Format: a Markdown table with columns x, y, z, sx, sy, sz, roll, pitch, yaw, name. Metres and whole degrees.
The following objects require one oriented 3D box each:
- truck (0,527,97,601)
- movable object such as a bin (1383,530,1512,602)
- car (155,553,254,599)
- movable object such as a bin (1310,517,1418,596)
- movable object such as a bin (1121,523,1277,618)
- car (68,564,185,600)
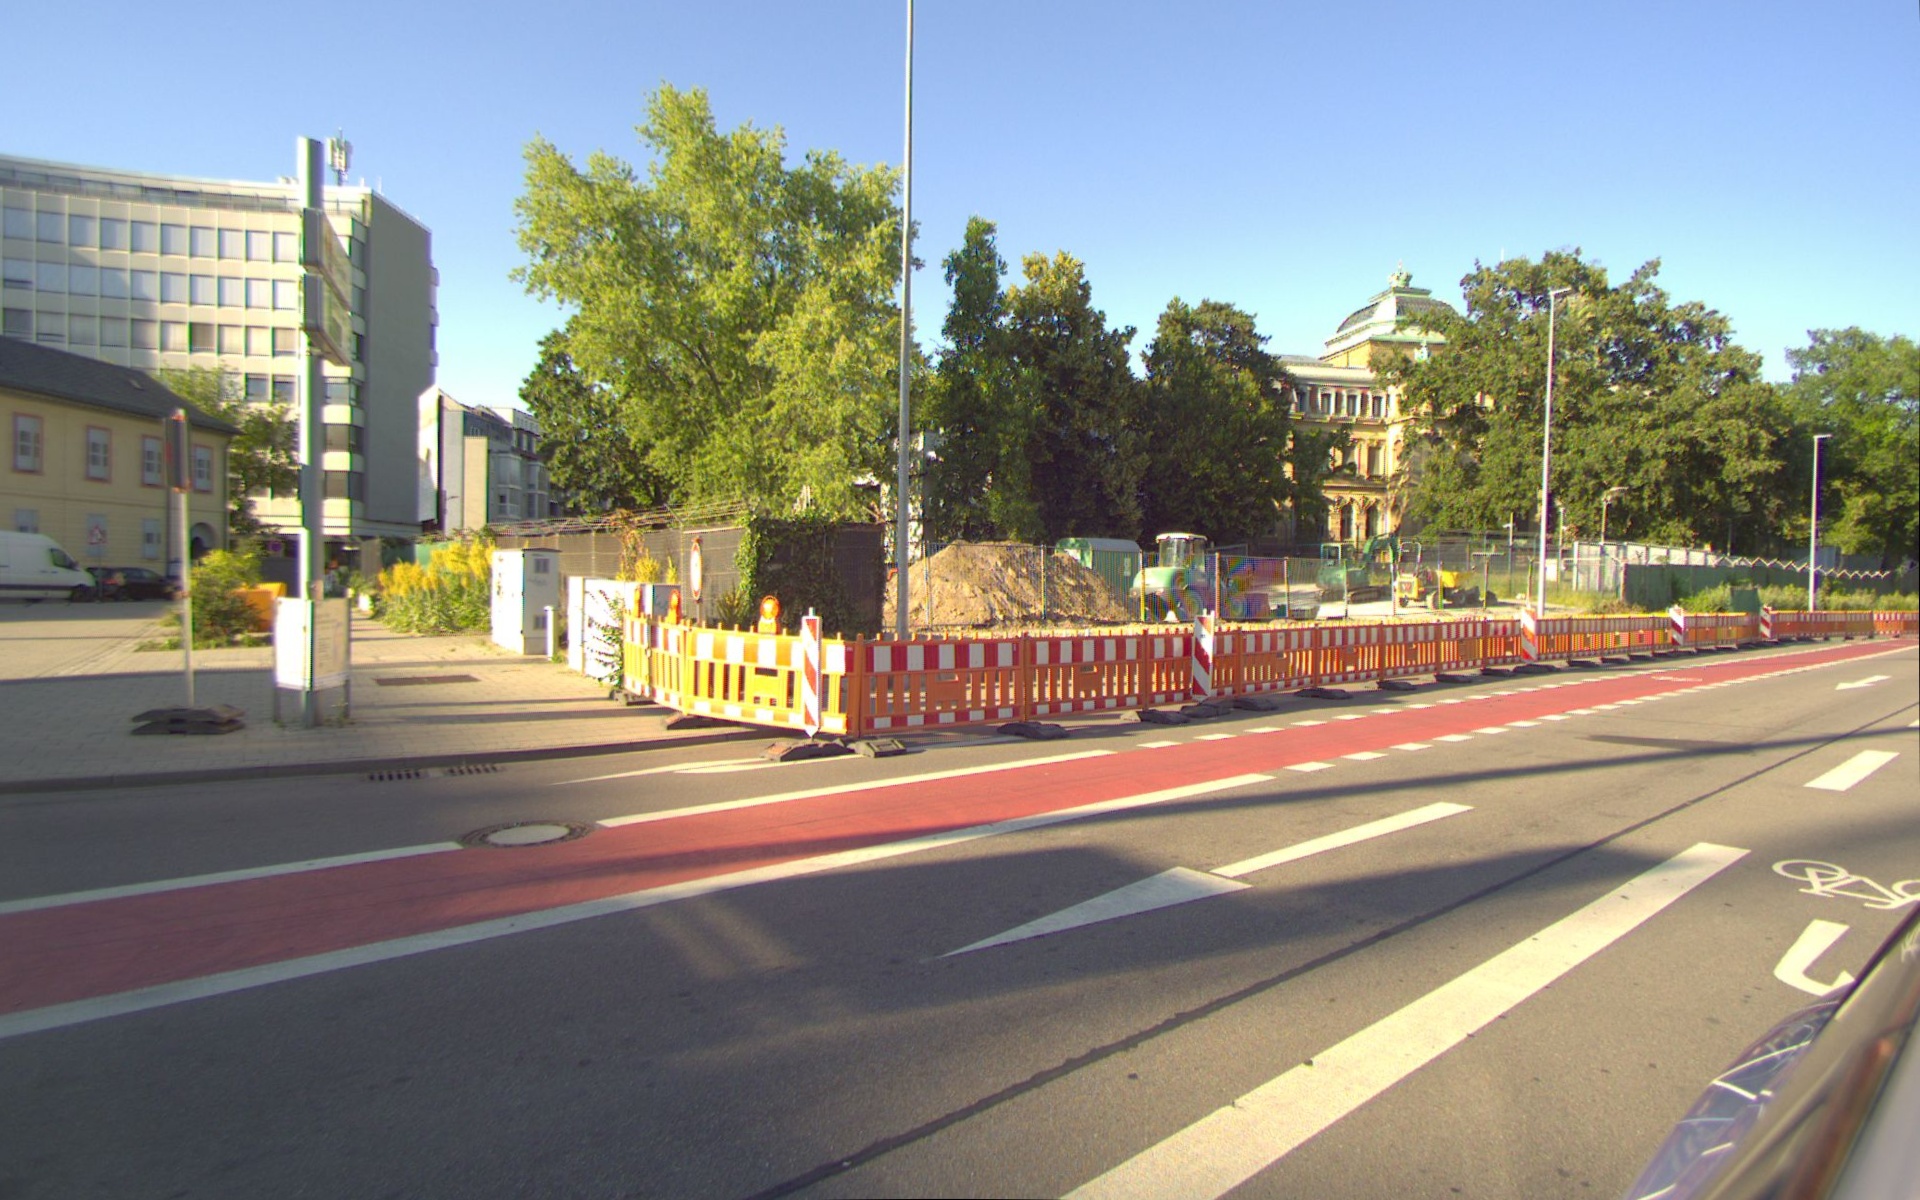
| x | y | z | sx | sy | sz | roll | pitch | yaw | name |
| --- | --- | --- | --- | --- | --- | --- | --- | --- | --- |
| -34.310 | -1.253 | 36.057 | 2.258 | 2.581 | 5.638 | 0 | 0 | 1 | truck |
| 20.430 | -1.370 | 42.363 | 5.750 | 2.852 | 2.002 | -1 | 0 | -30 | movable object such as a bin |
| -34.392 | -1.084 | 46.170 | 1.682 | 2.005 | 3.761 | 0 | 0 | 1 | car |
| 18.162 | -1.874 | 45.382 | 5.274 | 3.371 | 1.999 | -1 | 0 | -36 | movable object such as a bin |
| 7.444 | -0.877 | 31.300 | 4.920 | 2.717 | 1.999 | -1 | 0 | -36 | movable object such as a bin |
| -34.336 | -0.731 | 41.816 | 1.682 | 1.382 | 3.761 | 0 | 0 | 1 | car |
